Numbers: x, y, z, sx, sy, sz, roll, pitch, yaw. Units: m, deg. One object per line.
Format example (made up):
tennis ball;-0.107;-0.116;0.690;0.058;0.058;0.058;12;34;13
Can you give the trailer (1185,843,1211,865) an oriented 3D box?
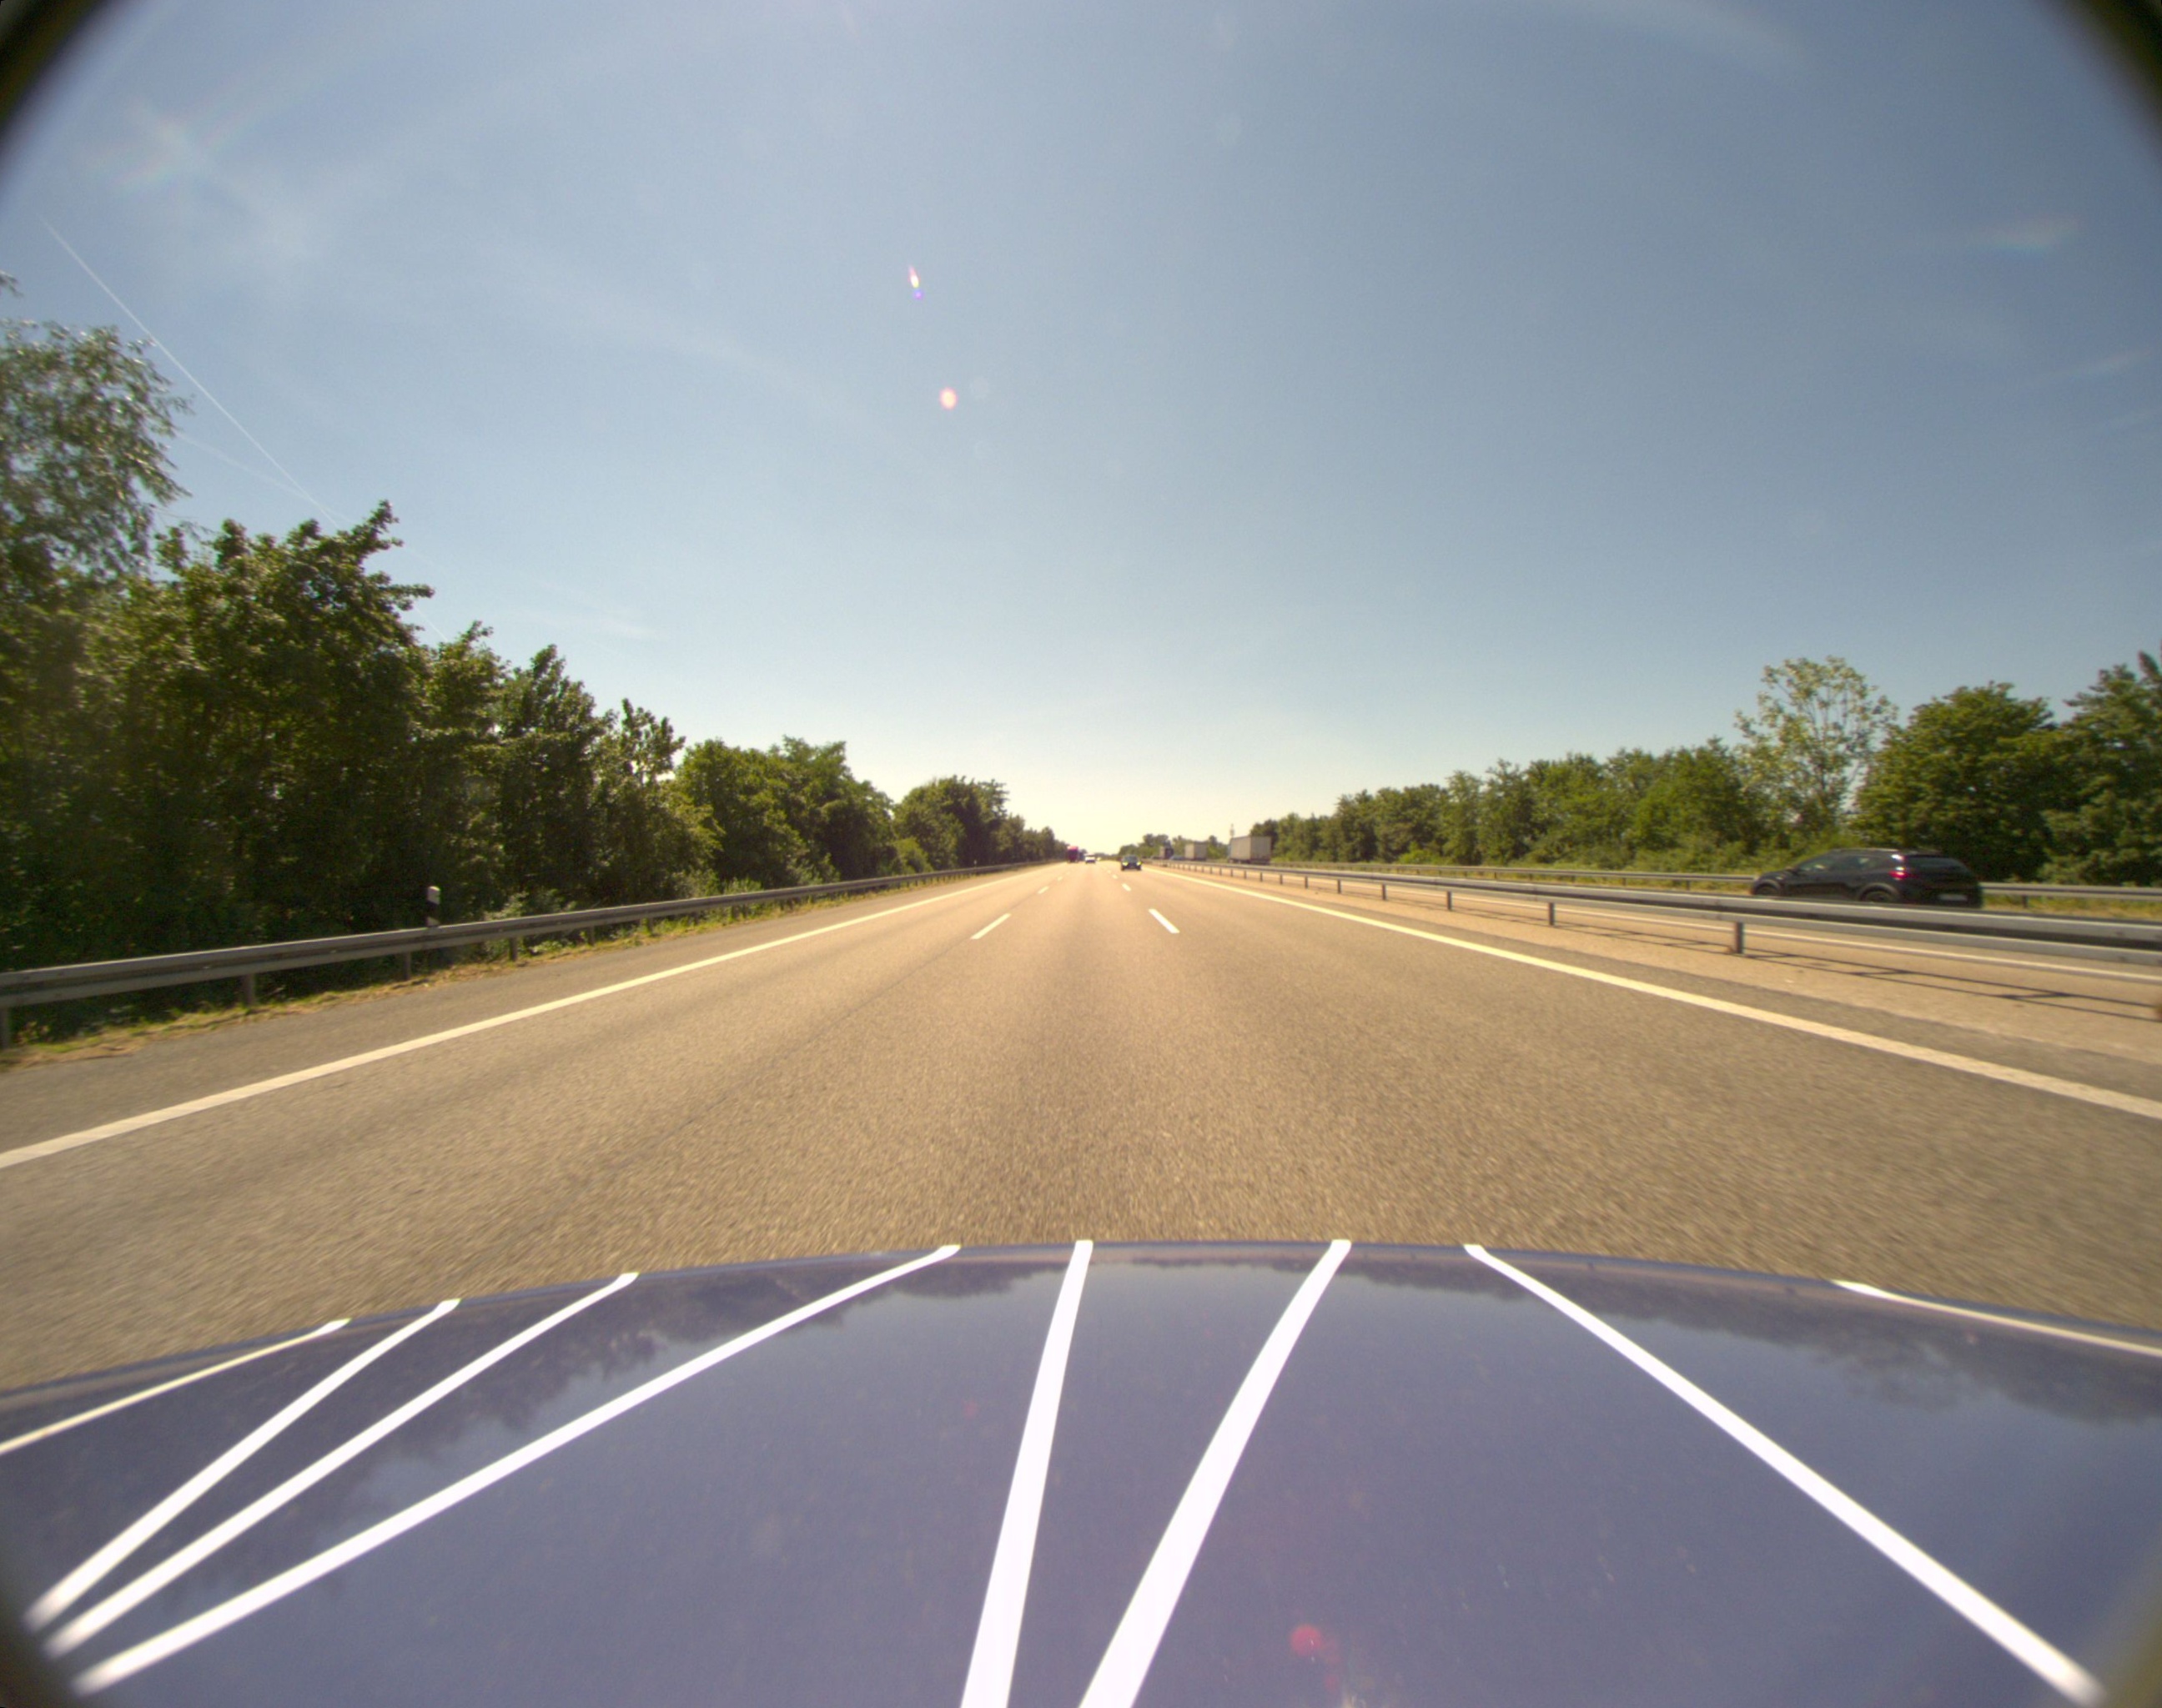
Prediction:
trailer;23.879;0.077;155.387;3.357;4.161;13.542;0;-1;0

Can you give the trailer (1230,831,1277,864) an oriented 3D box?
trailer;22.784;-0.712;101.167;3.305;4.161;13.542;0;-1;0

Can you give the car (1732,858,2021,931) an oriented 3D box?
car;17.713;0.822;17.331;1.867;1.393;4.531;0;0;1

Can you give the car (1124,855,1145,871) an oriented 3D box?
car;4.992;0.841;71.251;1.736;1.433;4.001;-2;-1;1

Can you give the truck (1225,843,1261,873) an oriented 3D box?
truck;22.750;0.551;107.147;3.260;3.962;8.728;-1;0;1

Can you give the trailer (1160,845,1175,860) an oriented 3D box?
trailer;24.532;-0.337;216.318;2.927;4.162;13.541;1;0;1

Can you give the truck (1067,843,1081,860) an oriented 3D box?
truck;-1.705;-0.570;181.547;2.938;3.933;10.261;-2;-1;1

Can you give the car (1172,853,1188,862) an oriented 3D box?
car;15.324;0.488;117.453;1.854;1.387;4.742;1;0;1

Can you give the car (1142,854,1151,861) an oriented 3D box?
car;21.425;1.155;248.718;2.234;1.977;5.356;-4;0;1

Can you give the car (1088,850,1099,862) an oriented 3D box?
car;2.387;0.407;144.159;1.998;2.001;4.756;-2;-1;1

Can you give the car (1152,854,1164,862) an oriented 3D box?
car;15.195;0.750;150.494;1.854;1.454;5.169;2;0;1
